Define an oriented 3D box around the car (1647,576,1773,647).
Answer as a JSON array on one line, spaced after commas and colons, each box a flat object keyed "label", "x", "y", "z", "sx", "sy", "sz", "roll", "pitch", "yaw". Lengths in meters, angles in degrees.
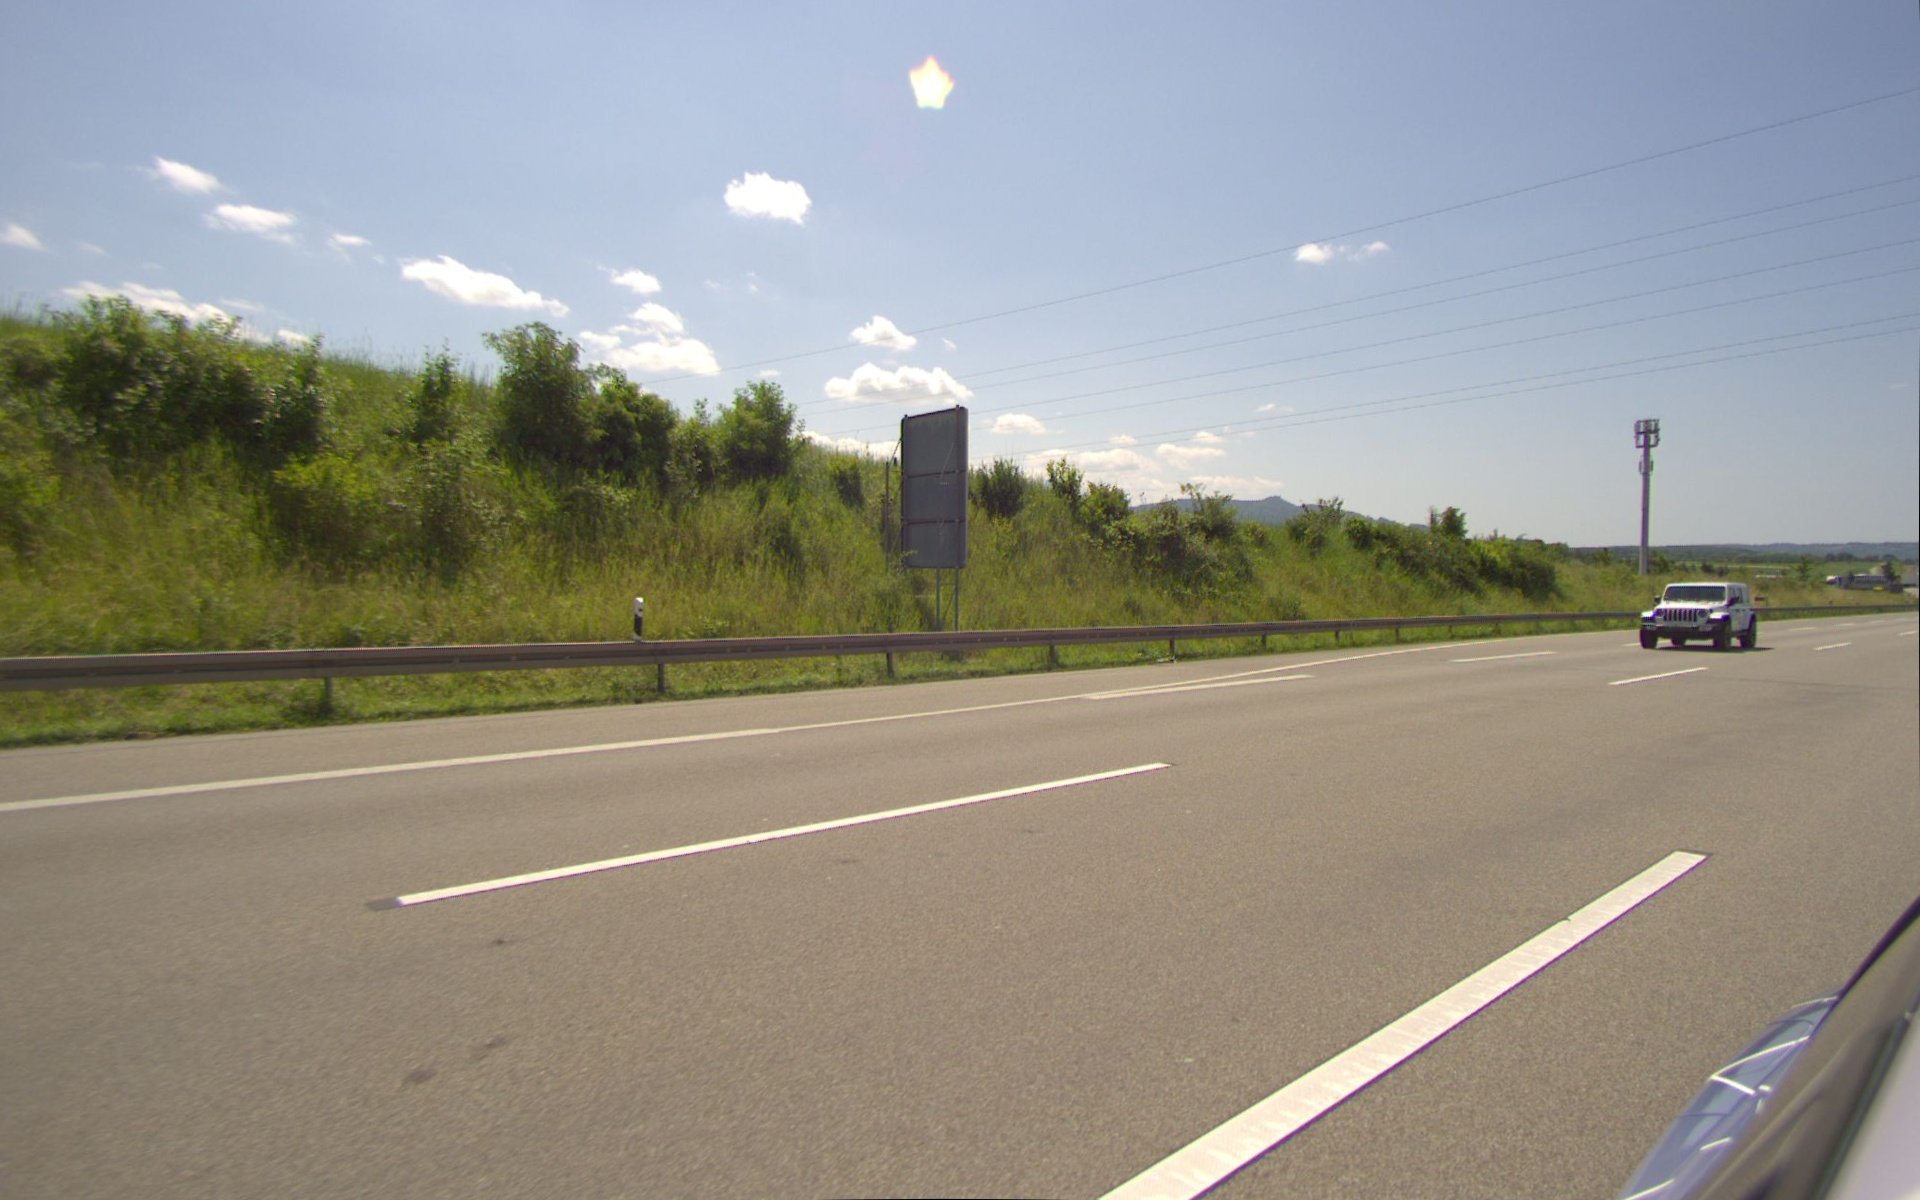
[{"label": "car", "x": 20.915, "y": 0.276, "z": 28.165, "sx": 4.177, "sy": 1.827, "sz": 2.037, "roll": 0, "pitch": 0, "yaw": -42}]
